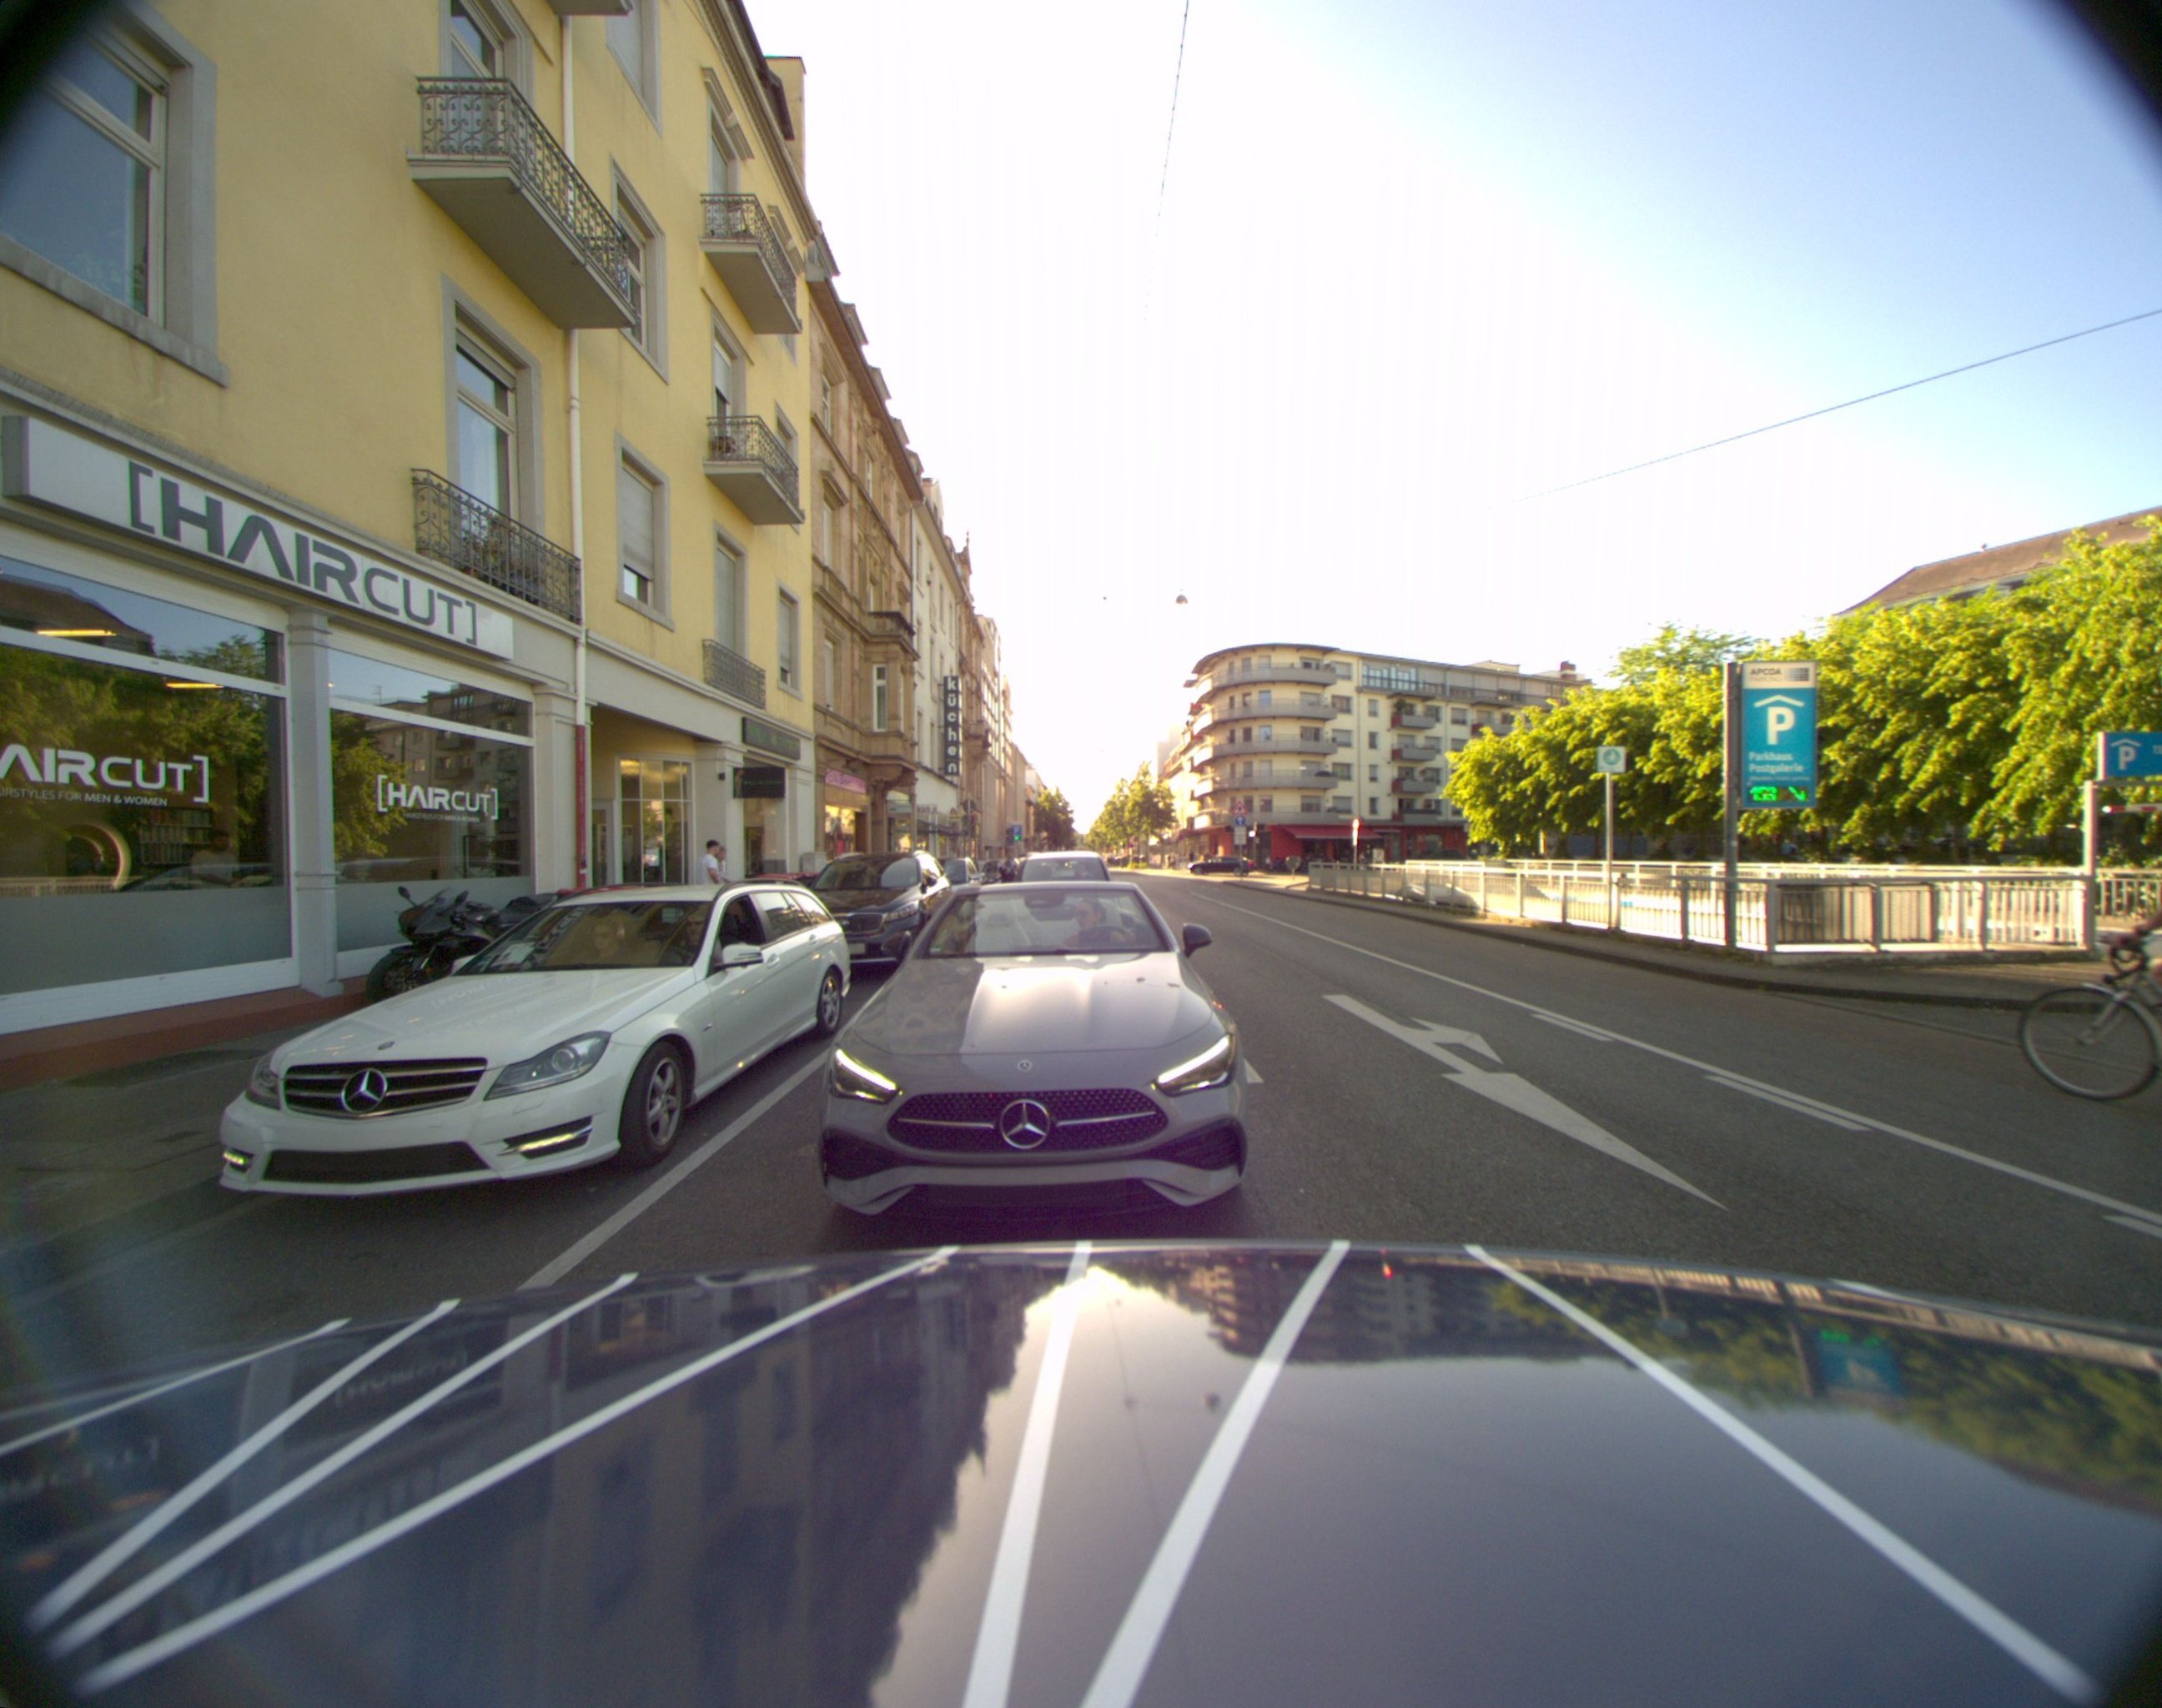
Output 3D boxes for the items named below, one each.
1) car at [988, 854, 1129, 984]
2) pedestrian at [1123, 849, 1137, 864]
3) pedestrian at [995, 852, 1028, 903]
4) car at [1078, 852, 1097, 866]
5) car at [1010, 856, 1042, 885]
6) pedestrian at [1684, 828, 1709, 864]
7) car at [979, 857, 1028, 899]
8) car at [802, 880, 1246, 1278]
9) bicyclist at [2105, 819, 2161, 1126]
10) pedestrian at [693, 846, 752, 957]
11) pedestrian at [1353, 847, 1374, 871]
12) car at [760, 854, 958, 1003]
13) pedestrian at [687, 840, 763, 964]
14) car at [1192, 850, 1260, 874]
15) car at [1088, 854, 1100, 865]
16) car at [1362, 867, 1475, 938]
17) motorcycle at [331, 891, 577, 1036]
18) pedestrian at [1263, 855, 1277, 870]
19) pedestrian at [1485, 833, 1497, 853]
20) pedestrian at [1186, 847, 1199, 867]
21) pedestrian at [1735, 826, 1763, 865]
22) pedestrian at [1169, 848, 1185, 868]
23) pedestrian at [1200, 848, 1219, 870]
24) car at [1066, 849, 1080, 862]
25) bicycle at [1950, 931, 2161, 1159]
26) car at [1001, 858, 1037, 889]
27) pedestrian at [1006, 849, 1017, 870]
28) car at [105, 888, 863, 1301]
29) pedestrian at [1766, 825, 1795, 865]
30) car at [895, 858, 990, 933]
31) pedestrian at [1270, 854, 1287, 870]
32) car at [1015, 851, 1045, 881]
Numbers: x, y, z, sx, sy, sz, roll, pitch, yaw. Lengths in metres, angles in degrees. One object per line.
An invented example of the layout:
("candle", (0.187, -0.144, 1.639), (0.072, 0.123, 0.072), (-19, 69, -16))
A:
("car", (-0.367, 0.894, 12.758), (1.866, 1.658, 4.706), (-2, 1, -2))
("pedestrian", (6.118, 0.264, 95.093), (1.223, 1.826, 1.201), (-3, 1, -19))
("pedestrian", (-2.413, 0.798, 26.400), (0.836, 1.709, 0.821), (-2, 1, 18))
("car", (0.728, 0.520, 85.340), (1.696, 1.437, 3.574), (-2, 1, -6))
("car", (-2.946, 0.866, 40.949), (1.461, 1.391, 3.362), (-2, 1, -1))
("pedestrian", (31.867, -0.418, 39.359), (0.748, 1.832, 0.683), (-3, 1, -21))
("car", (-3.030, 0.903, 30.312), (1.695, 1.482, 3.796), (-2, 1, -3))
("car", (-0.283, 0.998, 5.358), (1.769, 1.360, 4.471), (-2, 1, -2))
("bicyclist", (6.356, 0.659, 4.039), (0.703, 1.700, 0.809), (0, 1, -5))
("pedestrian", (-6.151, 0.795, 13.060), (0.630, 1.826, 0.770), (-2, 1, -7))
("pedestrian", (20.171, 0.379, 54.256), (1.269, 1.656, 1.141), (-2, 1, 25))
("car", (-3.015, 0.891, 11.338), (1.806, 1.680, 4.408), (-2, 1, -3))
("pedestrian", (-5.652, 0.730, 12.064), (0.975, 1.866, 0.534), (-3, 1, -31))
("car", (9.942, 0.548, 52.120), (4.240, 1.521, 1.679), (-2, 1, 23))
("car", (2.196, 0.895, 131.203), (1.836, 1.831, 3.886), (1, 1, -2))
("car", (10.256, 1.406, 23.427), (1.638, 1.523, 3.903), (-2, 5, -2))
("motorcycle", (-6.257, 1.024, 7.788), (0.735, 1.124, 2.109), (2, 1, 1))
("pedestrian", (14.917, 0.664, 60.039), (0.780, 1.191, 0.884), (-2, 1, -10))
("pedestrian", (38.355, -1.001, 71.047), (0.747, 1.832, 0.684), (-2, 1, 1))
("pedestrian", (10.511, 0.272, 71.577), (0.990, 1.908, 0.790), (-2, 1, -3))
("pedestrian", (32.316, -0.396, 36.748), (0.748, 1.852, 0.683), (-2, 1, -13))
("pedestrian", (8.499, 0.304, 67.050), (1.070, 1.709, 1.080), (-2, 1, -10))
("pedestrian", (10.646, 0.406, 62.993), (1.063, 1.739, 0.960), (-3, 1, -30))
("car", (-1.095, 0.174, 98.132), (1.695, 1.635, 3.599), (-2, 1, -1))
("bicycle", (6.325, 1.119, 4.212), (0.618, 1.156, 1.956), (0, 1, -6))
("car", (-2.958, 0.900, 36.681), (1.461, 1.310, 3.362), (-2, 1, -1))
("pedestrian", (-5.952, 0.469, 65.130), (0.826, 1.750, 0.823), (-2, 1, -1))
("car", (-3.028, 1.073, 5.246), (1.672, 1.364, 4.377), (-2, 1, 1))
("pedestrian", (33.499, -0.428, 36.385), (0.748, 1.832, 0.683), (-2, 1, -13))
("car", (-3.184, 0.906, 17.989), (1.583, 1.514, 2.998), (-2, 1, 1))
("pedestrian", (15.424, 0.652, 59.381), (0.937, 1.191, 0.832), (-3, 1, -24))
("car", (-3.157, 0.716, 47.547), (1.695, 1.670, 3.880), (-2, 1, -3))
